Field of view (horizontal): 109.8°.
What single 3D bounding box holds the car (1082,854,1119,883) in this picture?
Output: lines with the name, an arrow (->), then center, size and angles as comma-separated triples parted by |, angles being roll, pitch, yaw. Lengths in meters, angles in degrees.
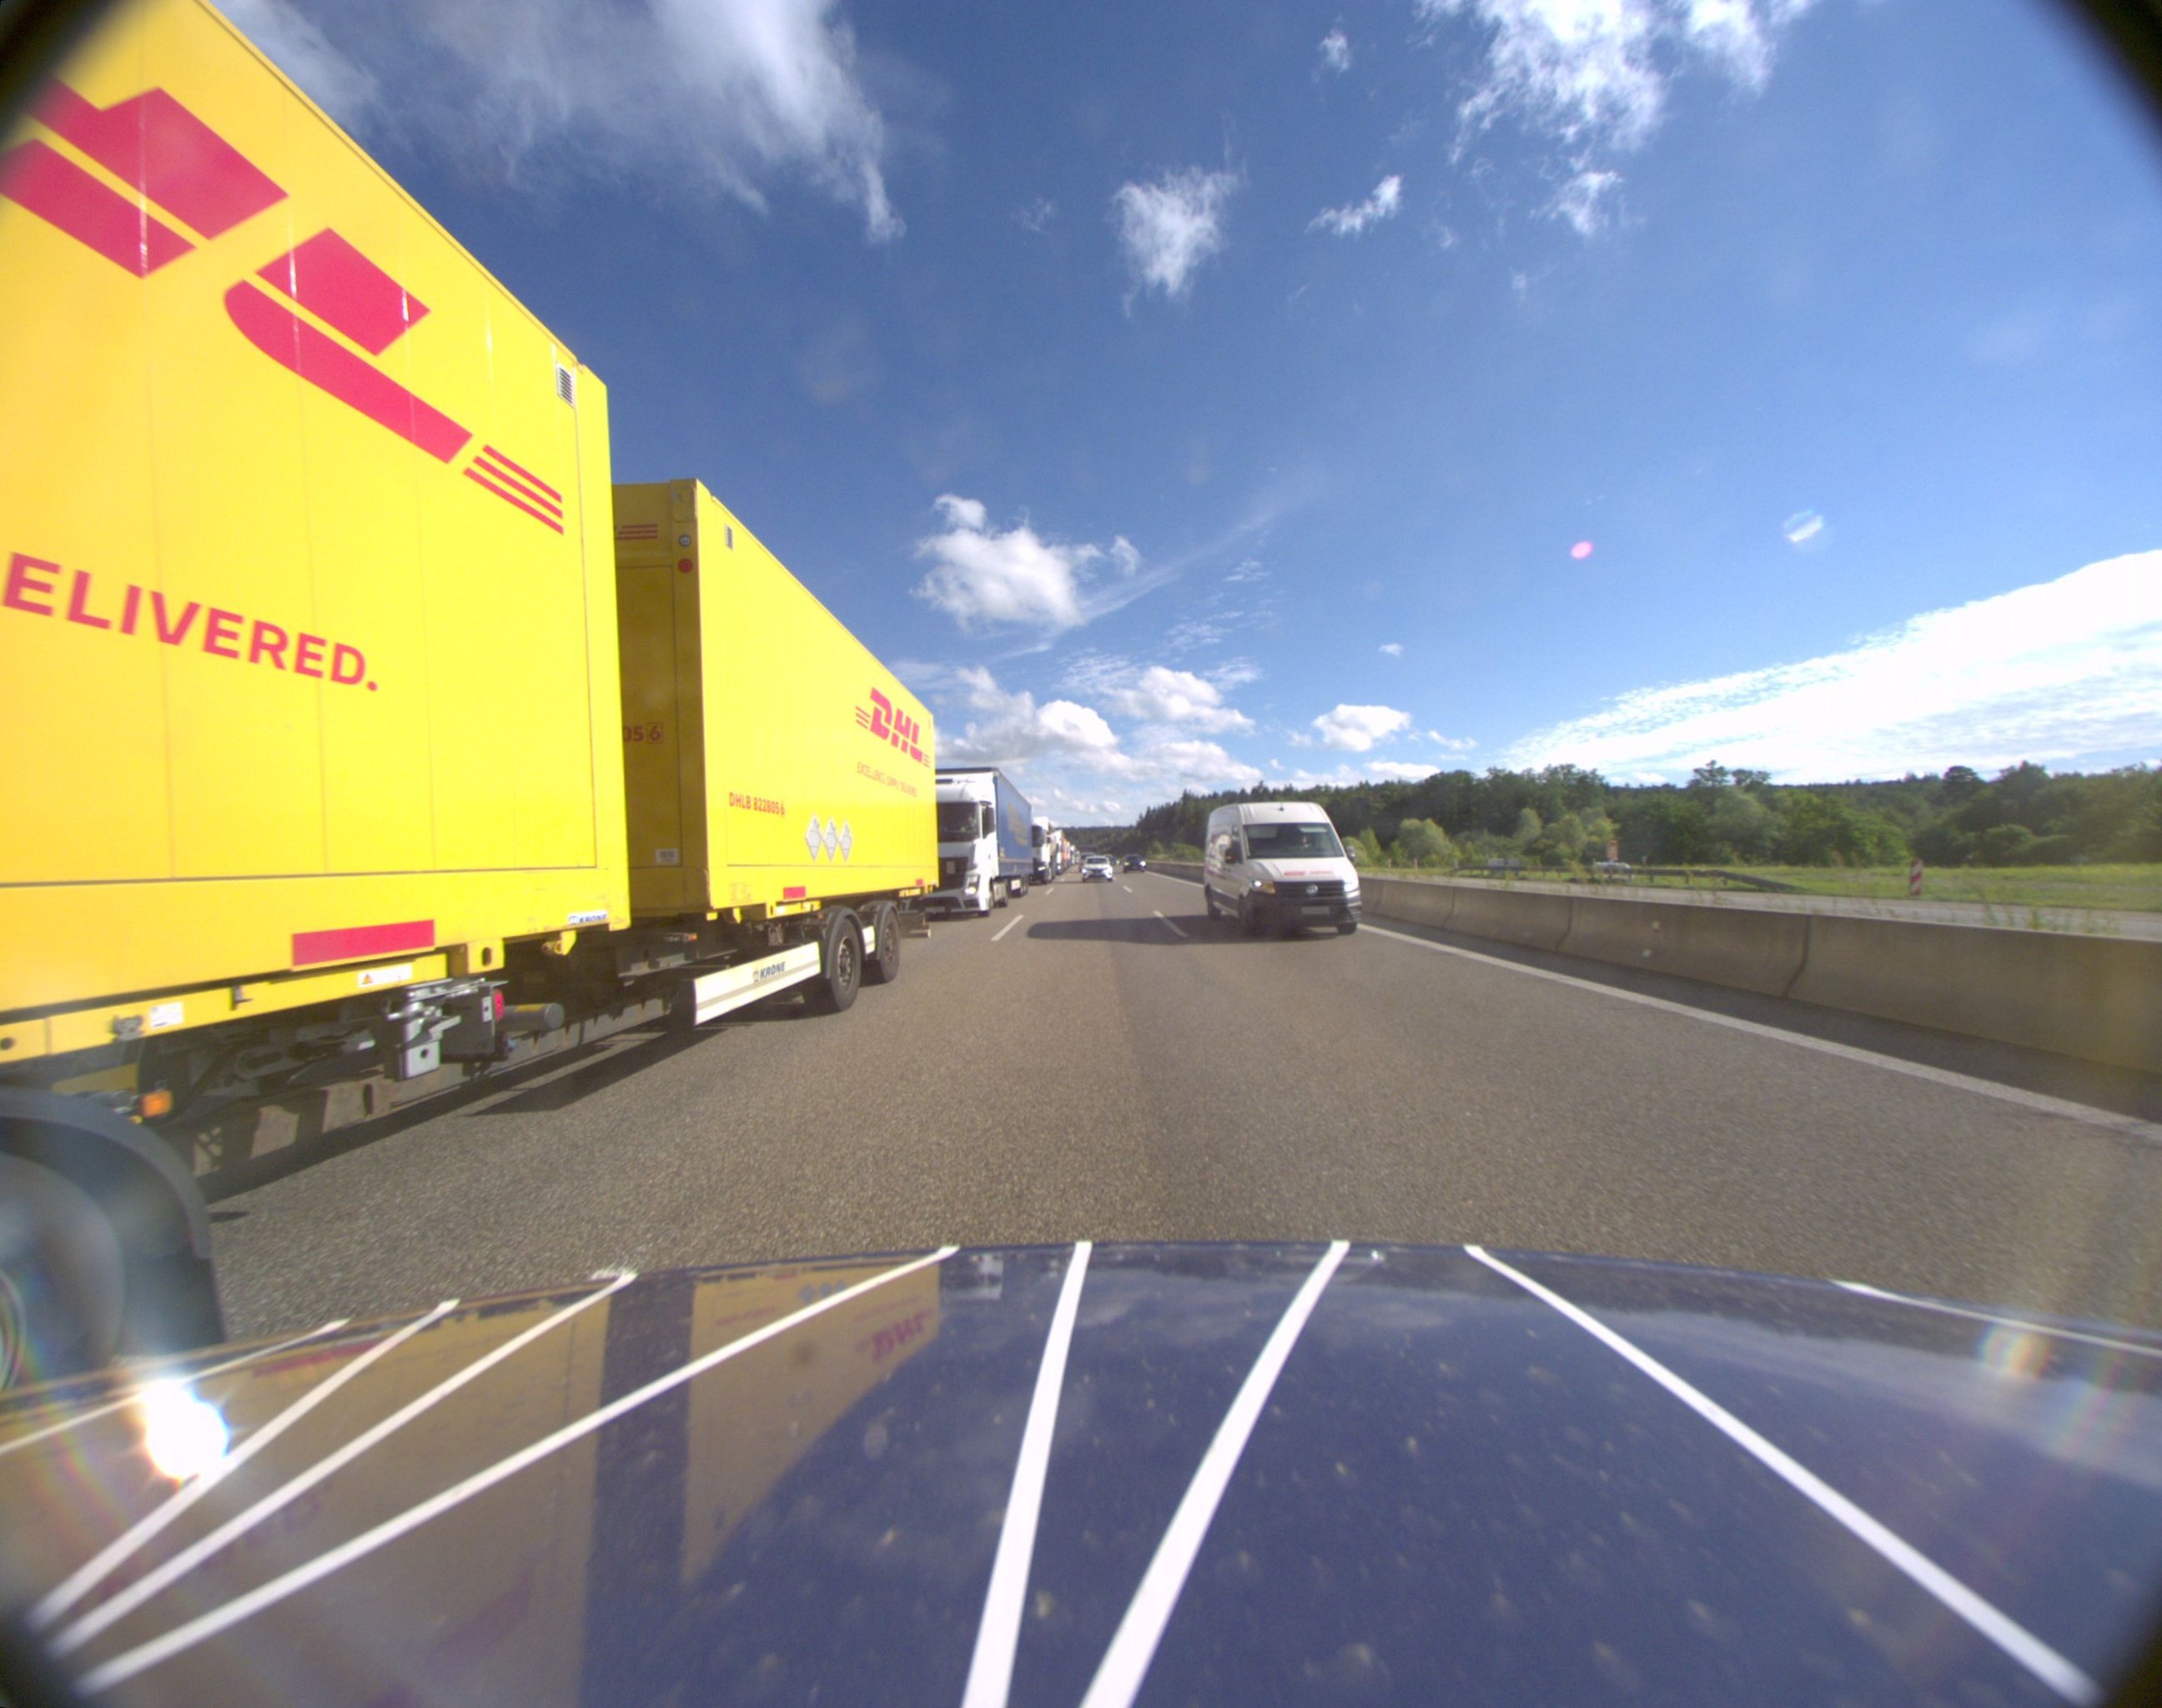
car -> 1.229, 0.820, 45.911 | 2.026, 1.511, 5.299 | -3, 0, 2

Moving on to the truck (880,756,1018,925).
truck -> -3.523, -0.357, 22.026 | 2.655, 4.066, 6.490 | -2, 1, 0

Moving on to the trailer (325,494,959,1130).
trailer -> -3.570, -0.275, 9.415 | 2.418, 4.045, 8.926 | -2, 0, 1

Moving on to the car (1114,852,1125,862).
car -> 6.264, 0.460, 124.123 | 1.779, 1.451, 4.158 | 1, 1, 1

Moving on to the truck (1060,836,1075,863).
truck -> -2.047, -0.730, 119.347 | 1.998, 4.025, 5.869 | -2, 1, 1

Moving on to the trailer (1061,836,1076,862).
trailer -> -2.000, -0.806, 123.517 | 1.998, 3.999, 7.344 | -2, 1, 1

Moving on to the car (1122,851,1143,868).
car -> 4.706, 0.473, 69.692 | 1.779, 1.533, 4.158 | 1, 1, 1

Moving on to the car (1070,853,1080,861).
car -> -1.478, 0.762, 185.749 | 2.129, 2.030, 4.697 | 1, 0, 2

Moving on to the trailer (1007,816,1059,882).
trailer -> -3.087, -0.231, 52.077 | 2.653, 3.911, 11.175 | -3, 0, 0

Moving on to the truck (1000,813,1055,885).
truck -> -3.078, -0.277, 45.804 | 2.656, 3.901, 6.942 | -2, 0, 0

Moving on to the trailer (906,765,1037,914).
trailer -> -3.485, -0.474, 28.372 | 2.649, 4.074, 13.978 | -2, 1, 0

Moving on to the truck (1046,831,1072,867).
truck -> -2.532, -0.569, 90.260 | 2.634, 3.959, 5.956 | -2, 0, 1

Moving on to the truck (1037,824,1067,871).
truck -> -2.543, -0.489, 68.020 | 2.371, 3.997, 6.106 | -2, -1, 0

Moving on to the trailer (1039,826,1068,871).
trailer -> -2.560, -0.421, 75.066 | 2.334, 3.973, 14.300 | -1, -1, 0

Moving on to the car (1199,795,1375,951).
car -> 3.889, 0.328, 15.667 | 2.020, 2.583, 6.182 | 0, 0, 1
